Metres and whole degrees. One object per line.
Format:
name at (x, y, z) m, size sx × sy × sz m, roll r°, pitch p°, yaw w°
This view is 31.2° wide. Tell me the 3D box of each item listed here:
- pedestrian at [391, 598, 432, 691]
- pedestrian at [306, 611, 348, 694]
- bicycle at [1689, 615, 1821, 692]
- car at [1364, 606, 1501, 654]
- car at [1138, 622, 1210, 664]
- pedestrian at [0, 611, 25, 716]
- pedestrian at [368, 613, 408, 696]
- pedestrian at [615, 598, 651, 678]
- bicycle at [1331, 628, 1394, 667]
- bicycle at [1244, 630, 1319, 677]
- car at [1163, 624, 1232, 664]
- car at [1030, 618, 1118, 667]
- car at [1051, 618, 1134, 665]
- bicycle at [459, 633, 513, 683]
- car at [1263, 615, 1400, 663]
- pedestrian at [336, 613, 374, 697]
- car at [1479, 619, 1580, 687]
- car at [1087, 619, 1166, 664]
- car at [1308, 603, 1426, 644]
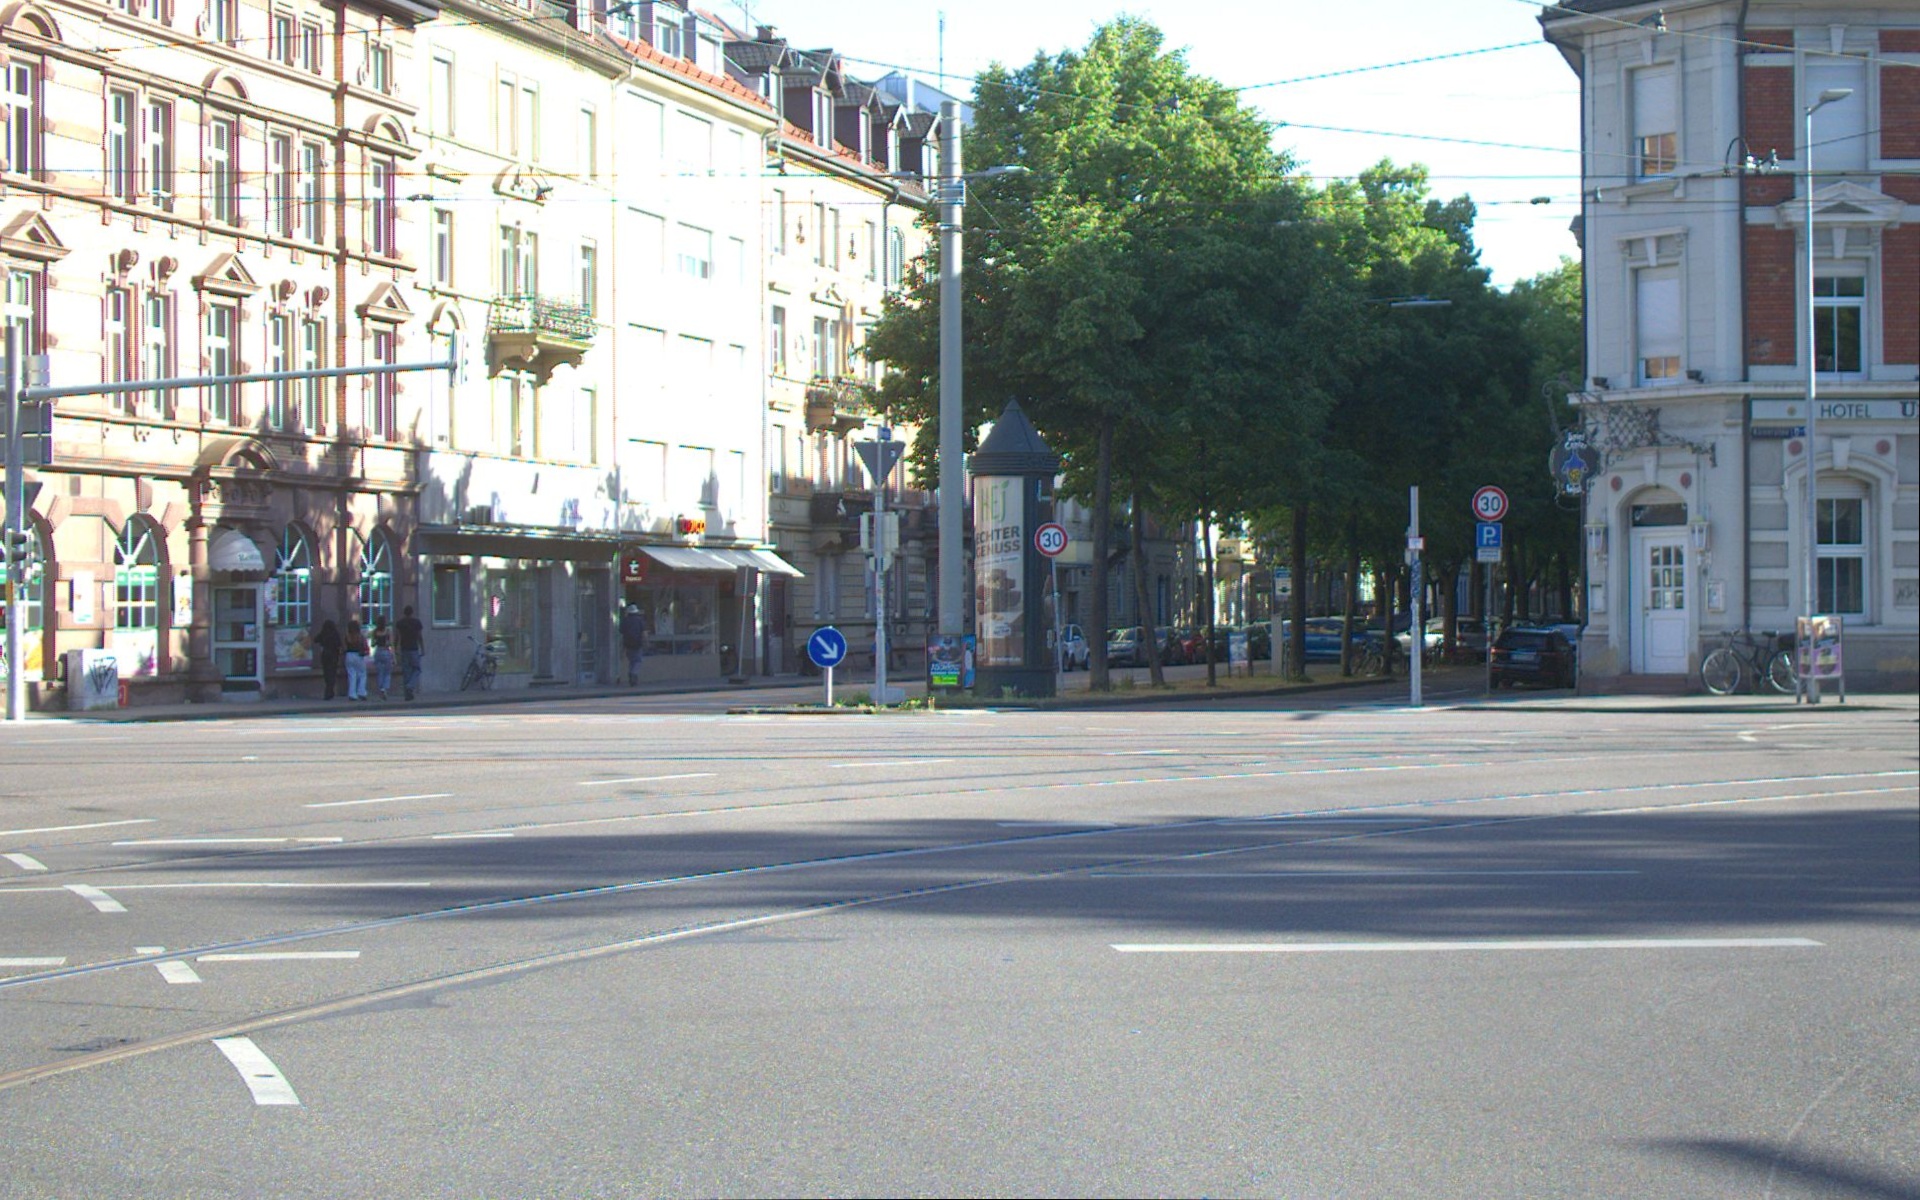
pedestrian at (-10.936, 0.888, 68.559) m, size 0.580 × 1.830 × 0.632 m, roll 0°, pitch 0°, yaw 16°
pedestrian at (-12.489, 1.039, 67.885) m, size 0.627 × 1.636 × 0.537 m, roll 0°, pitch 0°, yaw 17°
bicycle at (12.496, 0.843, 54.083) m, size 1.961 × 1.187 × 0.546 m, roll 0°, pitch 0°, yaw 5°
car at (15.594, 1.005, 113.526) m, size 3.994 × 1.540 × 1.997 m, roll -1°, pitch 0°, yaw 30°
car at (8.046, 1.593, 128.703) m, size 1.995 × 1.492 × 4.031 m, roll 0°, pitch 0°, yaw 14°
pedestrian at (-15.140, 0.992, 54.100) m, size 0.631 × 1.636 × 0.552 m, roll 0°, pitch 0°, yaw 13°
pedestrian at (-11.292, 1.071, 67.867) m, size 0.551 × 1.636 × 0.632 m, roll 0°, pitch 0°, yaw 16°
pedestrian at (-7.831, 0.916, 82.321) m, size 0.682 × 1.902 × 0.632 m, roll 0°, pitch 0°, yaw 16°
bicycle at (11.248, 1.331, 96.150) m, size 0.582 × 1.063 × 1.949 m, roll 0°, pitch 0°, yaw -37°
bicycle at (7.445, 1.238, 79.651) m, size 0.582 × 1.063 × 1.949 m, roll 0°, pitch 0°, yaw -37°
car at (9.219, 1.700, 133.425) m, size 1.995 × 1.492 × 4.031 m, roll 0°, pitch 0°, yaw 14°
car at (3.655, 1.347, 109.761) m, size 1.995 × 1.492 × 4.031 m, roll 0°, pitch 0°, yaw 14°
car at (4.424, 1.376, 114.248) m, size 1.995 × 1.492 × 4.031 m, roll 0°, pitch 0°, yaw 14°
bicycle at (-10.527, 1.283, 76.415) m, size 0.495 × 1.063 × 1.768 m, roll 0°, pitch 0°, yaw 16°
car at (12.162, 1.279, 112.567) m, size 3.993 × 1.540 × 1.997 m, roll -1°, pitch 0°, yaw 28°
pedestrian at (-11.927, 1.086, 67.766) m, size 0.551 × 1.636 × 0.537 m, roll 0°, pitch 0°, yaw 17°
car at (13.168, 1.208, 79.319) m, size 1.995 × 1.492 × 4.031 m, roll 0°, pitch 0°, yaw 14°
car at (5.807, 1.418, 119.487) m, size 1.995 × 1.492 × 4.031 m, roll 0°, pitch 0°, yaw 14°
car at (15.557, 0.908, 131.423) m, size 3.993 × 1.540 × 1.997 m, roll -1°, pitch 0°, yaw 28°
